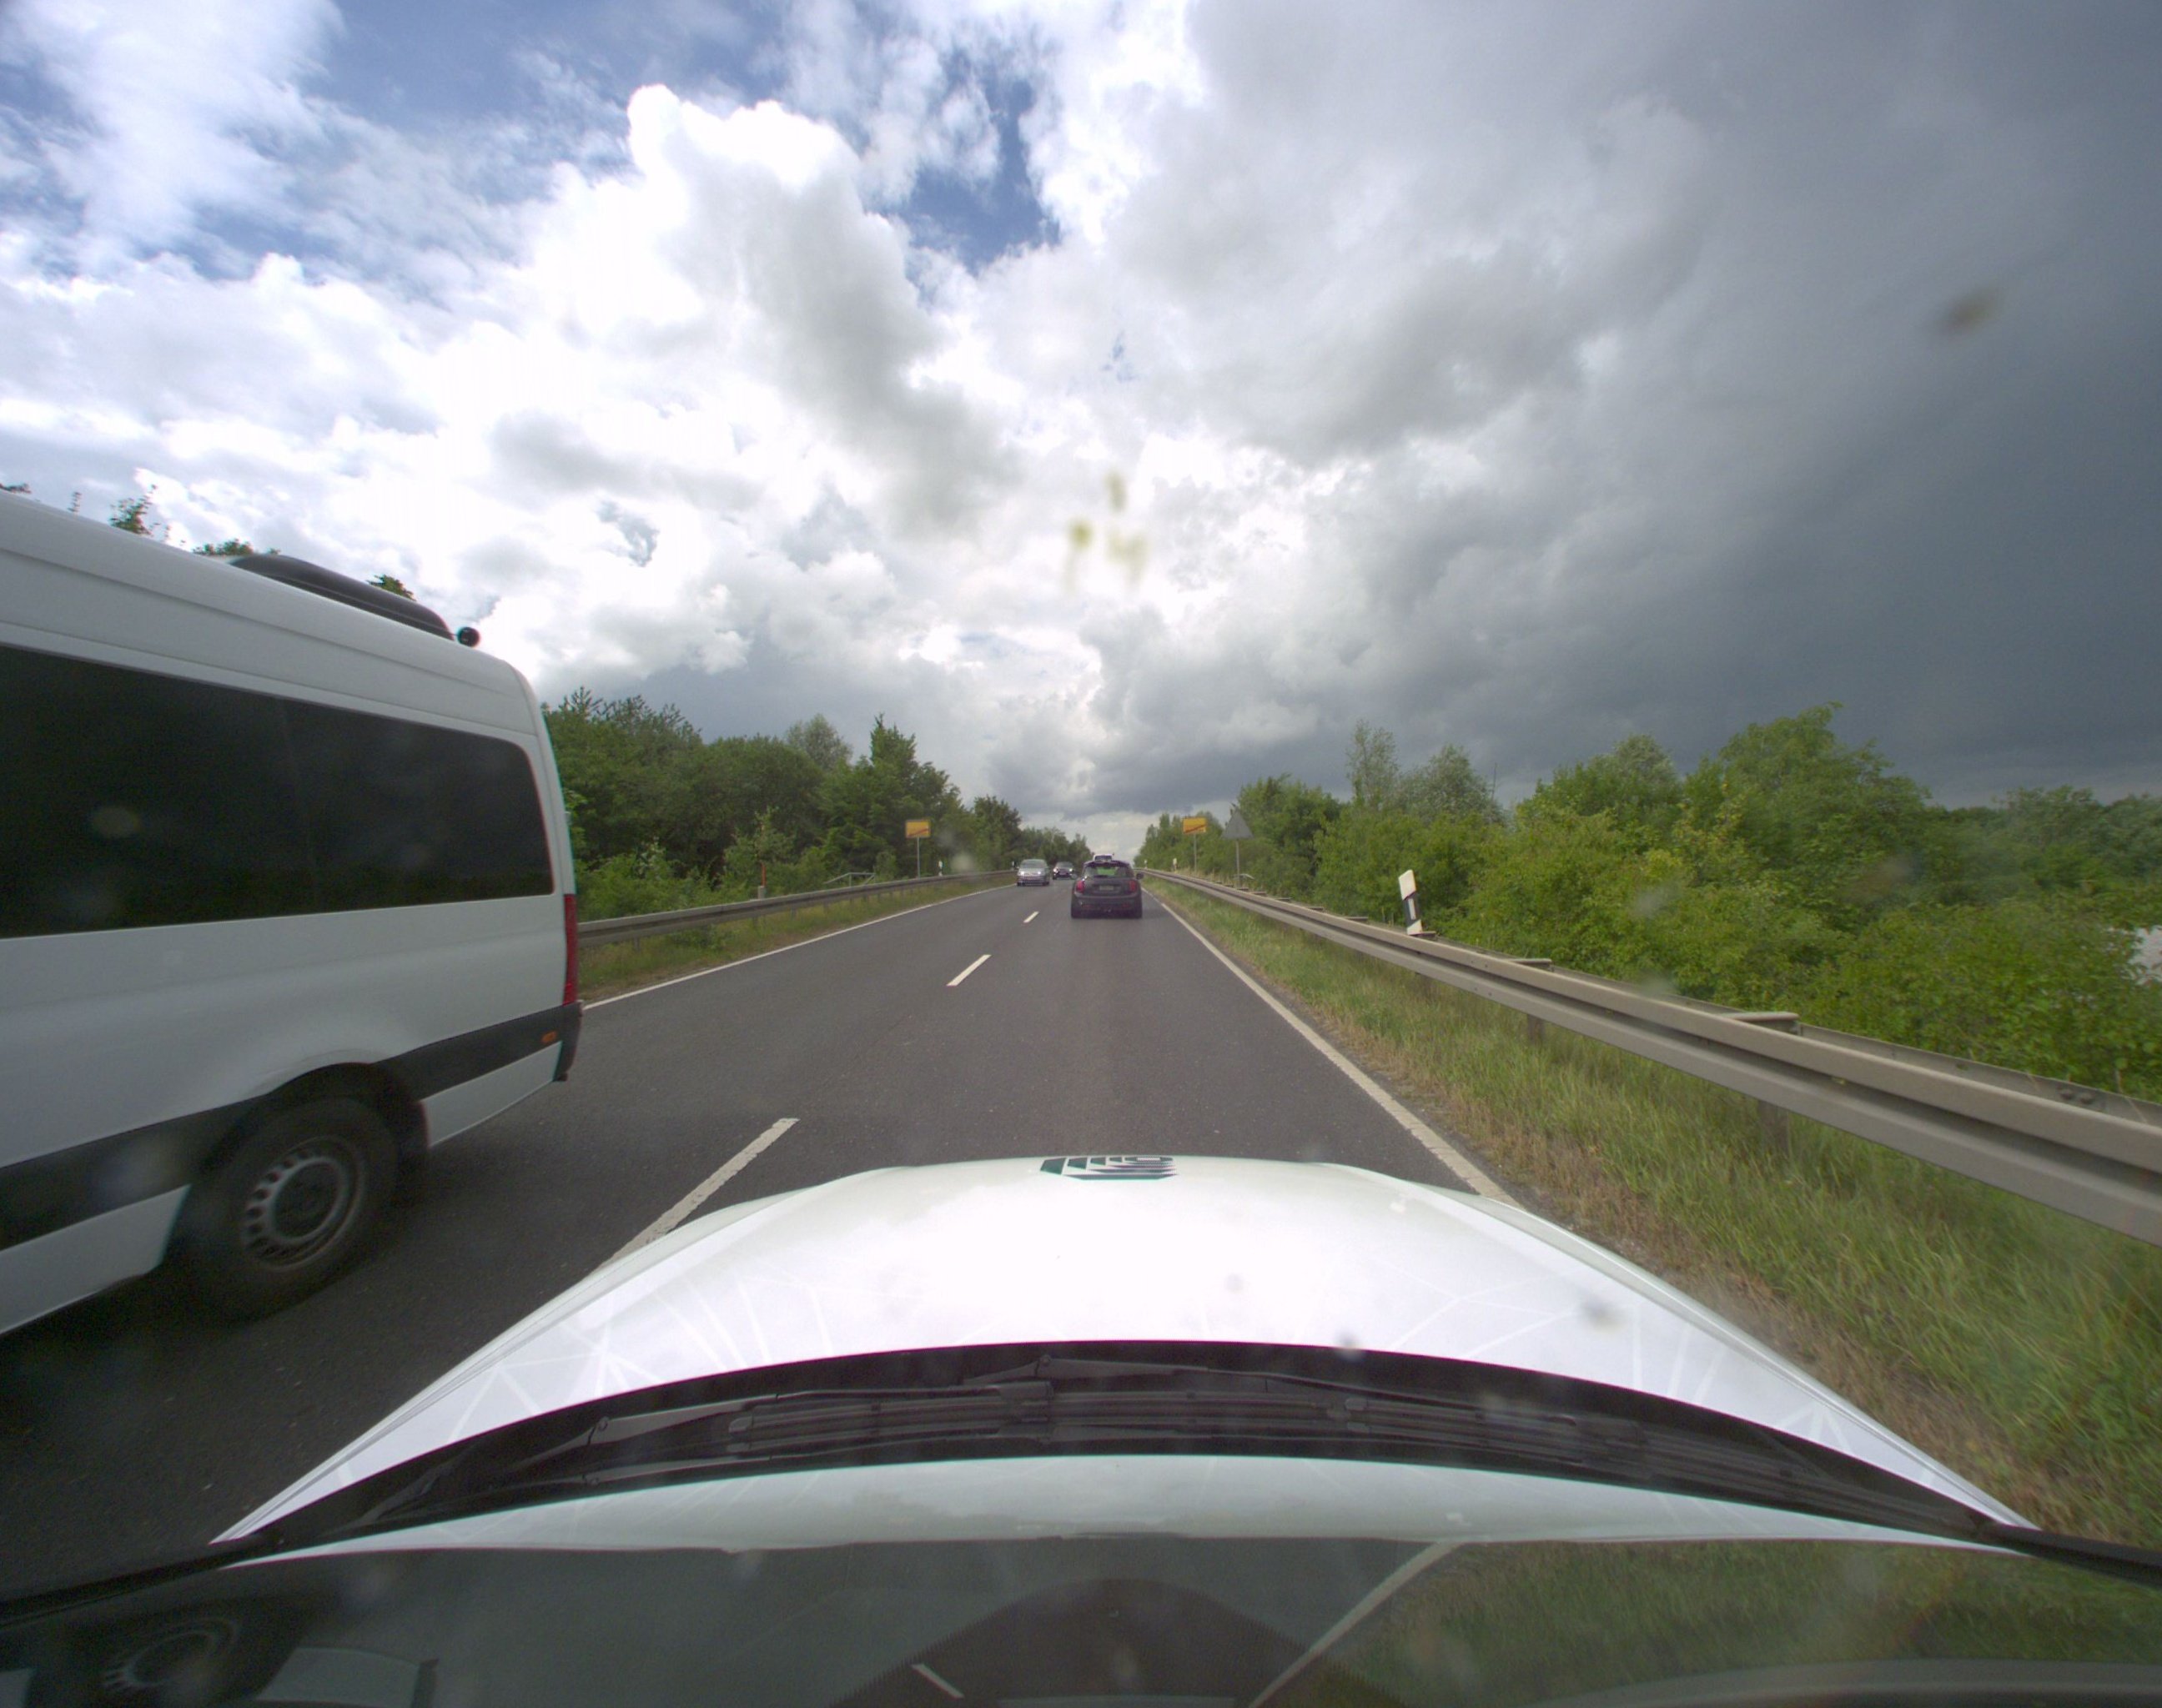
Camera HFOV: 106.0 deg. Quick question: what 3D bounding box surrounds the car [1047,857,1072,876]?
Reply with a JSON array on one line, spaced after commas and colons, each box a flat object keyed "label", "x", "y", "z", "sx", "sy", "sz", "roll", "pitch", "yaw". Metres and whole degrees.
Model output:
[{"label": "car", "x": -1.678, "y": 0.980, "z": 65.282, "sx": 1.829, "sy": 1.420, "sz": 4.001, "roll": 0, "pitch": 0, "yaw": 1}]

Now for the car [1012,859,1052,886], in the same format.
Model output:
[{"label": "car", "x": -2.751, "y": 1.029, "z": 46.402, "sx": 1.827, "sy": 1.445, "sz": 4.003, "roll": 0, "pitch": -1, "yaw": 3}]

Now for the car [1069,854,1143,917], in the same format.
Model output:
[{"label": "car", "x": 0.691, "y": 0.754, "z": 21.268, "sx": 1.725, "sy": 1.456, "sz": 4.003, "roll": -1, "pitch": 0, "yaw": 3}]

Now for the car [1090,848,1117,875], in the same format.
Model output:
[{"label": "car", "x": 1.768, "y": 0.573, "z": 64.511, "sx": 2.015, "sy": 2.013, "sz": 4.001, "roll": -1, "pitch": 0, "yaw": 2}]

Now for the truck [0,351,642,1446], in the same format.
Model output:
[{"label": "truck", "x": -3.754, "y": 0.115, "z": 1.377, "sx": 2.057, "sy": 2.742, "sz": 7.009, "roll": -1, "pitch": 0, "yaw": 1}]
